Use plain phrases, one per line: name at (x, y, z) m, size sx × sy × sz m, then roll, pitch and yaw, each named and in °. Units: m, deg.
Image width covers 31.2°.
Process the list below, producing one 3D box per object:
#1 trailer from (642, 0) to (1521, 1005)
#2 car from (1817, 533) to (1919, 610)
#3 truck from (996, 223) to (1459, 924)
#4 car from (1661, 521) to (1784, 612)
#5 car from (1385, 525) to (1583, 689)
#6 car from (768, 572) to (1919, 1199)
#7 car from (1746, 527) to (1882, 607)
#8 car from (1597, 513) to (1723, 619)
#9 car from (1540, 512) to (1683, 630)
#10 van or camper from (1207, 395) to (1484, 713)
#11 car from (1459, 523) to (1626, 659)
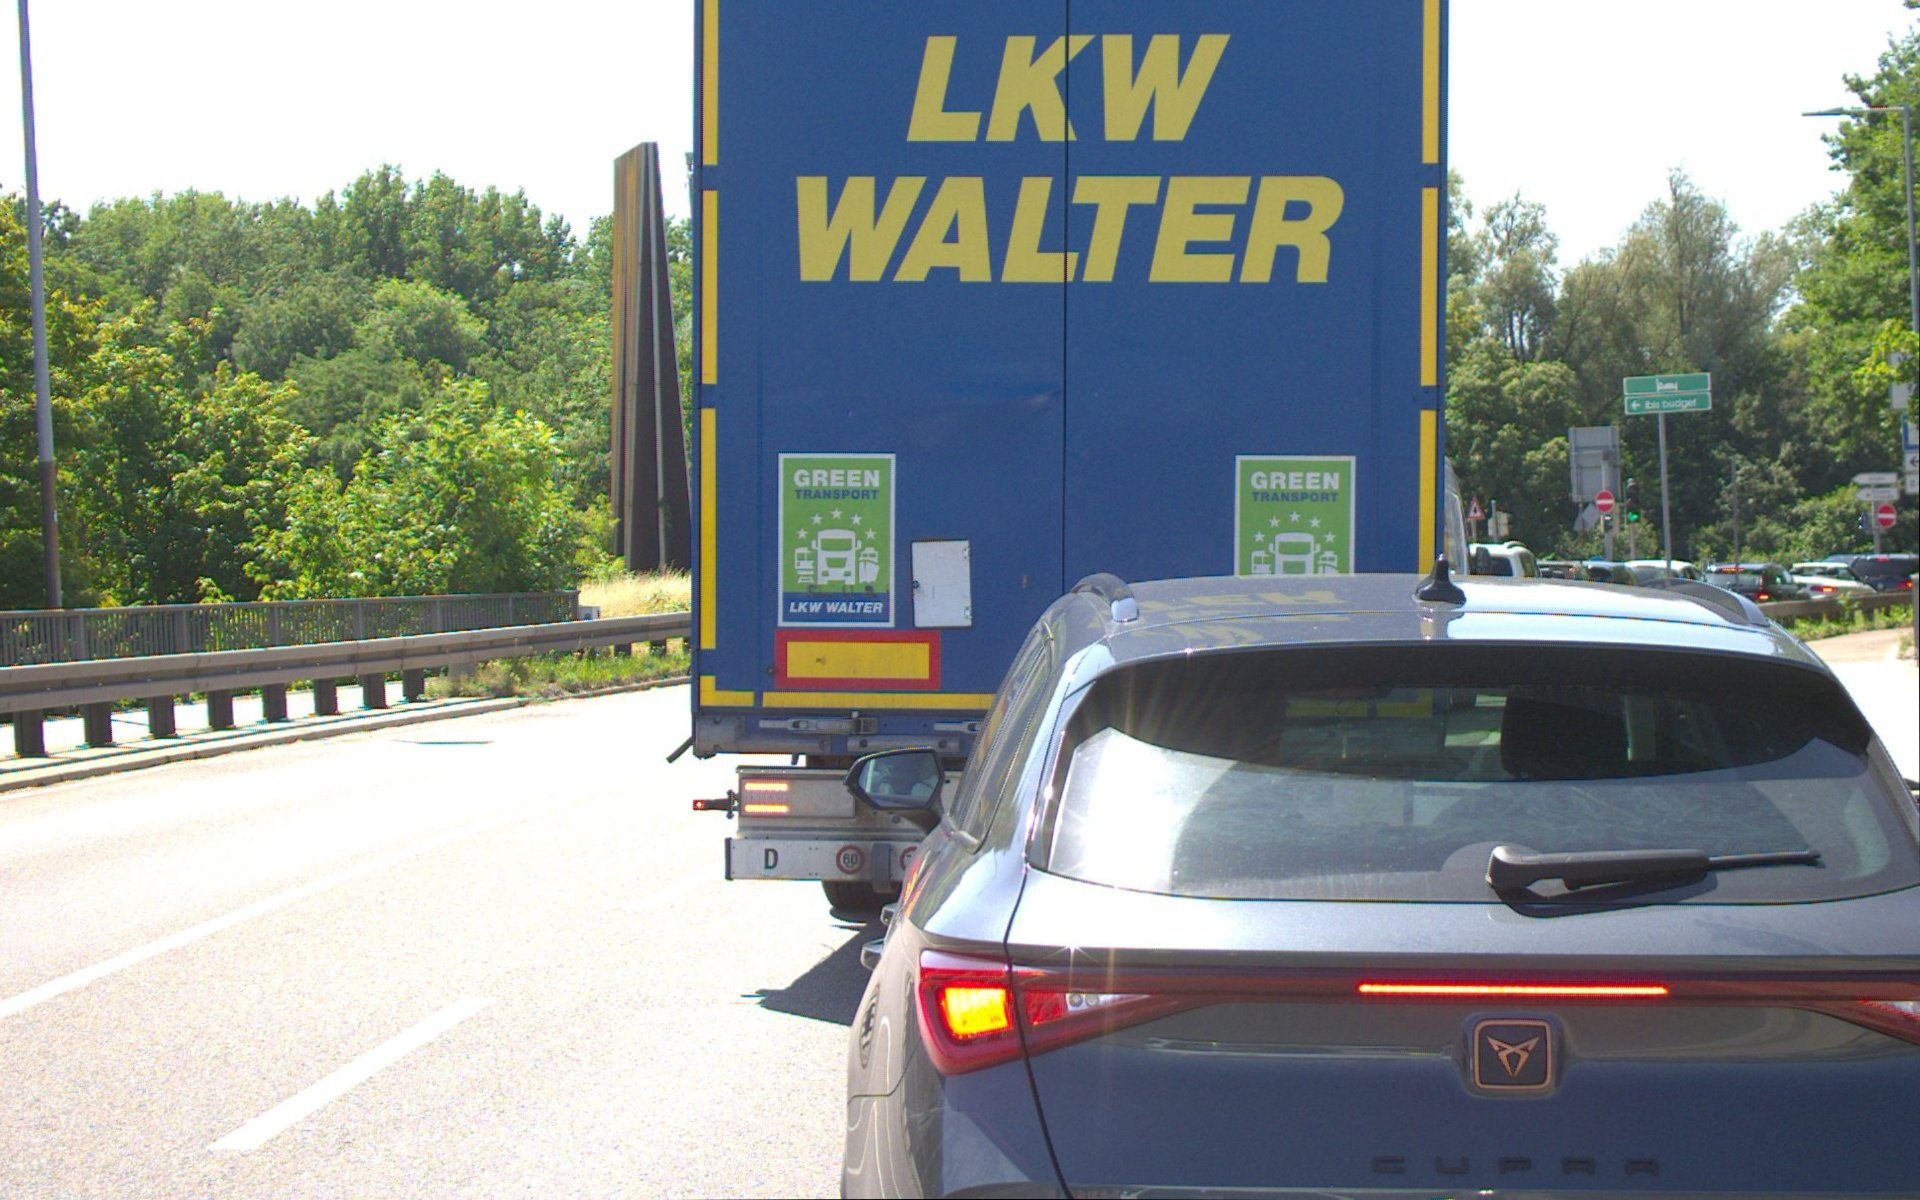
trailer at (1.153, -1.001, 17.539) m, size 2.905 × 4.403 × 12.430 m, roll 0°, pitch 1°, yaw 7°
car at (21.371, -0.663, 80.344) m, size 1.688 × 1.754 × 3.994 m, roll 0°, pitch 0°, yaw 28°
truck at (2.096, -0.230, 25.030) m, size 2.905 × 4.403 × 6.554 m, roll 0°, pitch 1°, yaw 7°
car at (15.138, -0.657, 68.132) m, size 1.687 × 1.754 × 3.995 m, roll 0°, pitch 0°, yaw 23°
car at (6.293, 0.031, 40.977) m, size 1.722 × 1.837 × 3.997 m, roll 0°, pitch 2°, yaw 18°
car at (0.677, 0.692, 5.945) m, size 1.677 × 1.451 × 3.958 m, roll 0°, pitch 1°, yaw 2°
car at (18.502, -0.694, 74.372) m, size 1.996 × 1.570 × 3.994 m, roll 2°, pitch 0°, yaw 26°
car at (12.548, -0.627, 61.483) m, size 1.722 × 1.837 × 3.996 m, roll 0°, pitch 1°, yaw 19°
car at (10.512, -0.493, 55.332) m, size 1.722 × 1.837 × 3.996 m, roll 0°, pitch 1°, yaw 19°
van or camper at (3.882, -0.465, 33.595) m, size 2.155 × 2.806 × 6.384 m, roll 0°, pitch 1°, yaw 11°
car at (8.055, -0.161, 47.294) m, size 1.722 × 1.796 × 3.997 m, roll 0°, pitch 1°, yaw 18°
